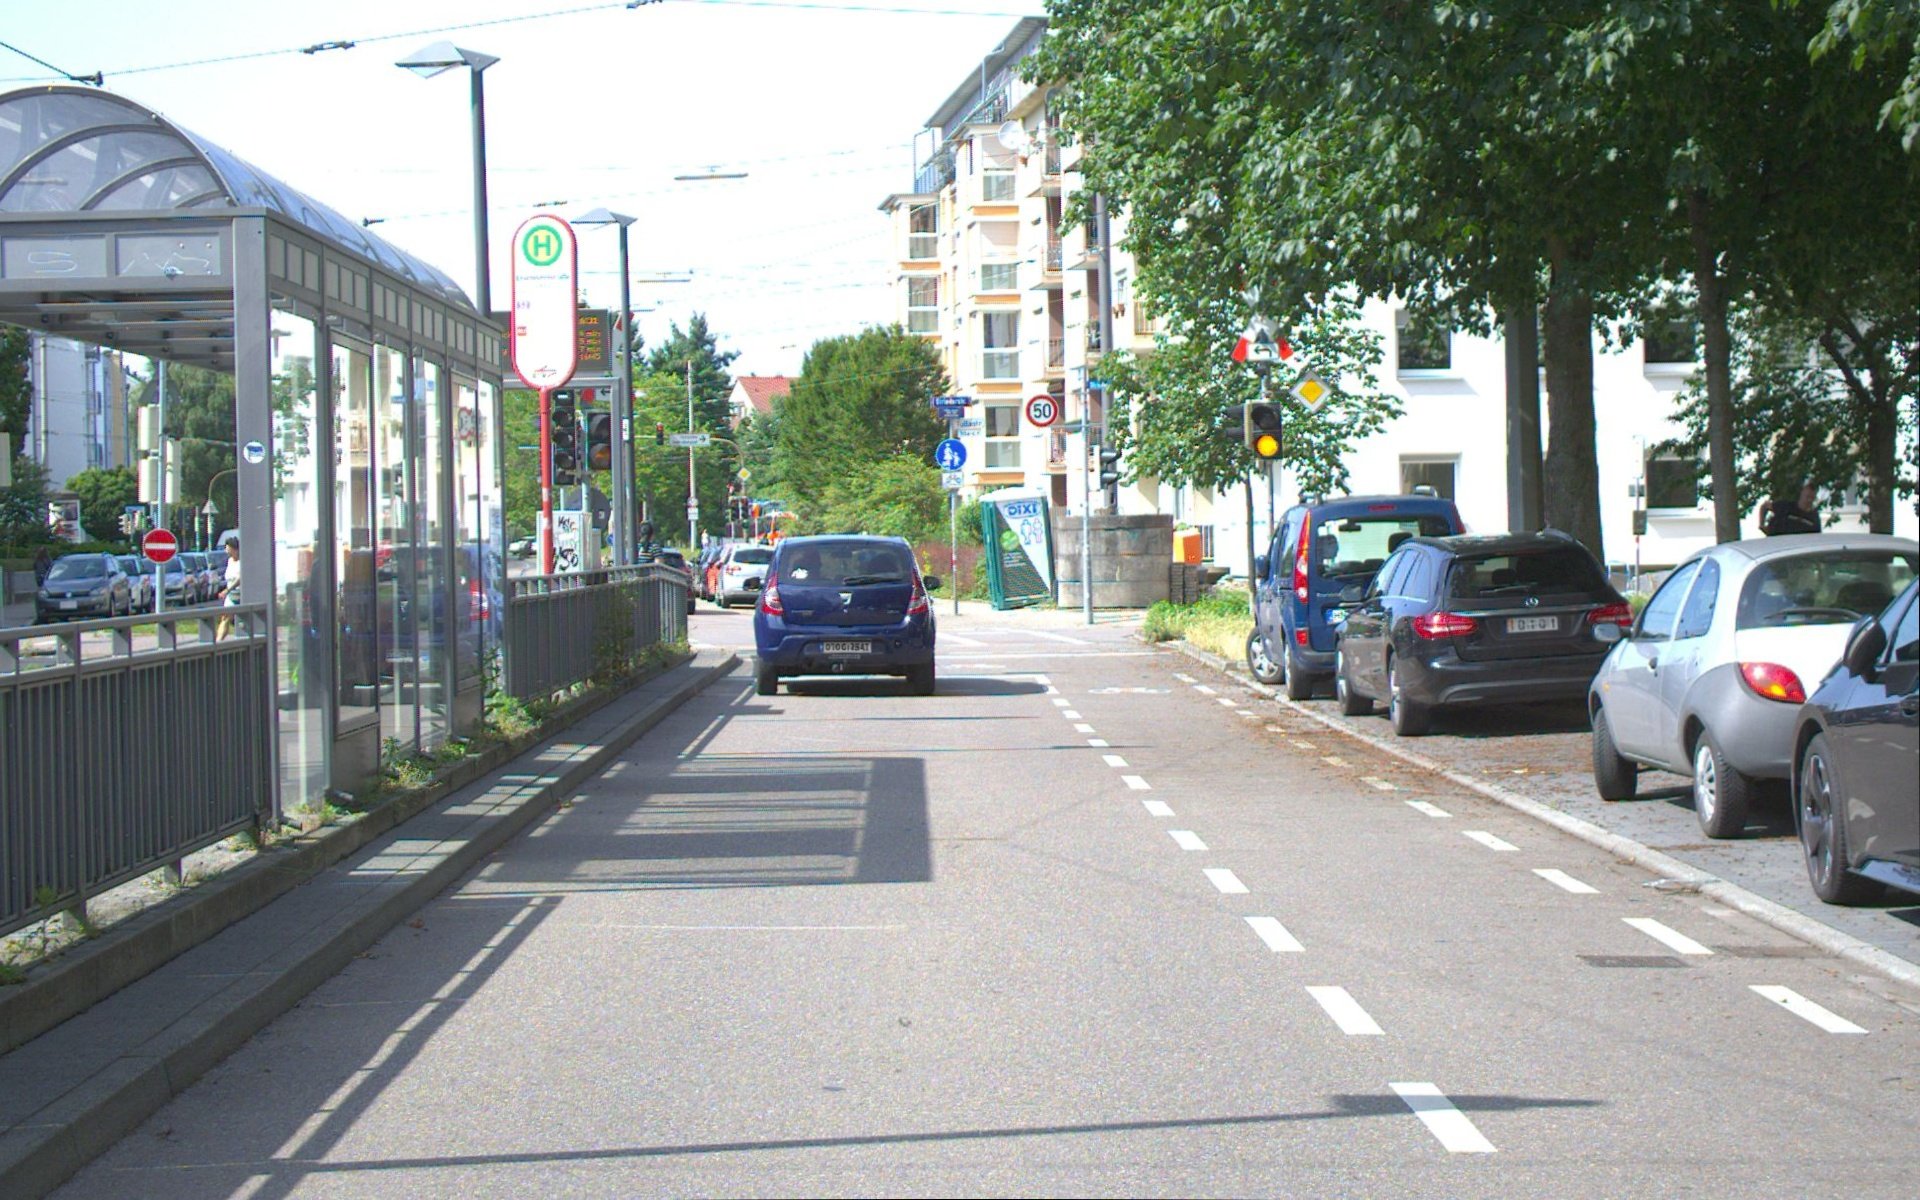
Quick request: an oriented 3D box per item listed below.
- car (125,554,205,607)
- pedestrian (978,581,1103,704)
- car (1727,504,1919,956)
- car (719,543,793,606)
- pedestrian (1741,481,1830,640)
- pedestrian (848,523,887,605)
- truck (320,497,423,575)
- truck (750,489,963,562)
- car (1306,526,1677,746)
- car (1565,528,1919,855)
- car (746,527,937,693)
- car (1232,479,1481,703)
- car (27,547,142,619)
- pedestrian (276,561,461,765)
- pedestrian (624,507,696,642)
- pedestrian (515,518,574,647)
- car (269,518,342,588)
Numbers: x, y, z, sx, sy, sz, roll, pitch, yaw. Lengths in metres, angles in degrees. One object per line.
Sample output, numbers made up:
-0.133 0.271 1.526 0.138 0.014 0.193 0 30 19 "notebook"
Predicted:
-22.536 -0.561 97.555 1.768 1.437 4.001 1 0 -7 "car"
1.348 0.696 59.090 1.993 2.007 4.000 1 0 -1 "pedestrian"
4.212 0.426 12.488 1.725 1.578 4.677 -2 1 0 "car"
-4.885 -0.612 82.111 1.622 1.460 3.511 1 0 -5 "car"
8.976 -0.435 37.392 0.744 1.690 0.767 -2 1 0 "pedestrian"
-2.065 -0.801 76.748 0.701 1.783 1.030 -4 1 -5 "pedestrian"
-25.319 -2.736 148.201 2.596 3.175 8.382 -2 1 2 "truck"
-5.126 -3.650 169.506 10.131 3.459 2.676 1 0 -12 "truck"
4.030 0.202 26.900 1.917 1.437 4.797 -3 2 -2 "car"
4.252 0.387 17.552 1.590 1.440 3.598 -3 1 -1 "car"
-1.147 0.075 33.654 1.744 1.502 4.000 1 0 -2 "car"
3.641 -0.141 32.250 1.823 1.889 4.184 -2 2 1 "car"
-20.751 -0.405 81.637 1.993 1.639 4.001 1 0 -5 "car"
-3.247 0.334 18.899 0.663 1.068 0.722 0 2 34 "pedestrian"
-3.777 -0.317 43.266 0.845 1.662 0.799 -1 0 -4 "pedestrian"
-5.407 -0.228 44.768 0.705 1.642 0.637 1 0 -4 "pedestrian"
-22.209 -1.612 116.836 1.993 2.267 4.835 2 1 -6 "car"
